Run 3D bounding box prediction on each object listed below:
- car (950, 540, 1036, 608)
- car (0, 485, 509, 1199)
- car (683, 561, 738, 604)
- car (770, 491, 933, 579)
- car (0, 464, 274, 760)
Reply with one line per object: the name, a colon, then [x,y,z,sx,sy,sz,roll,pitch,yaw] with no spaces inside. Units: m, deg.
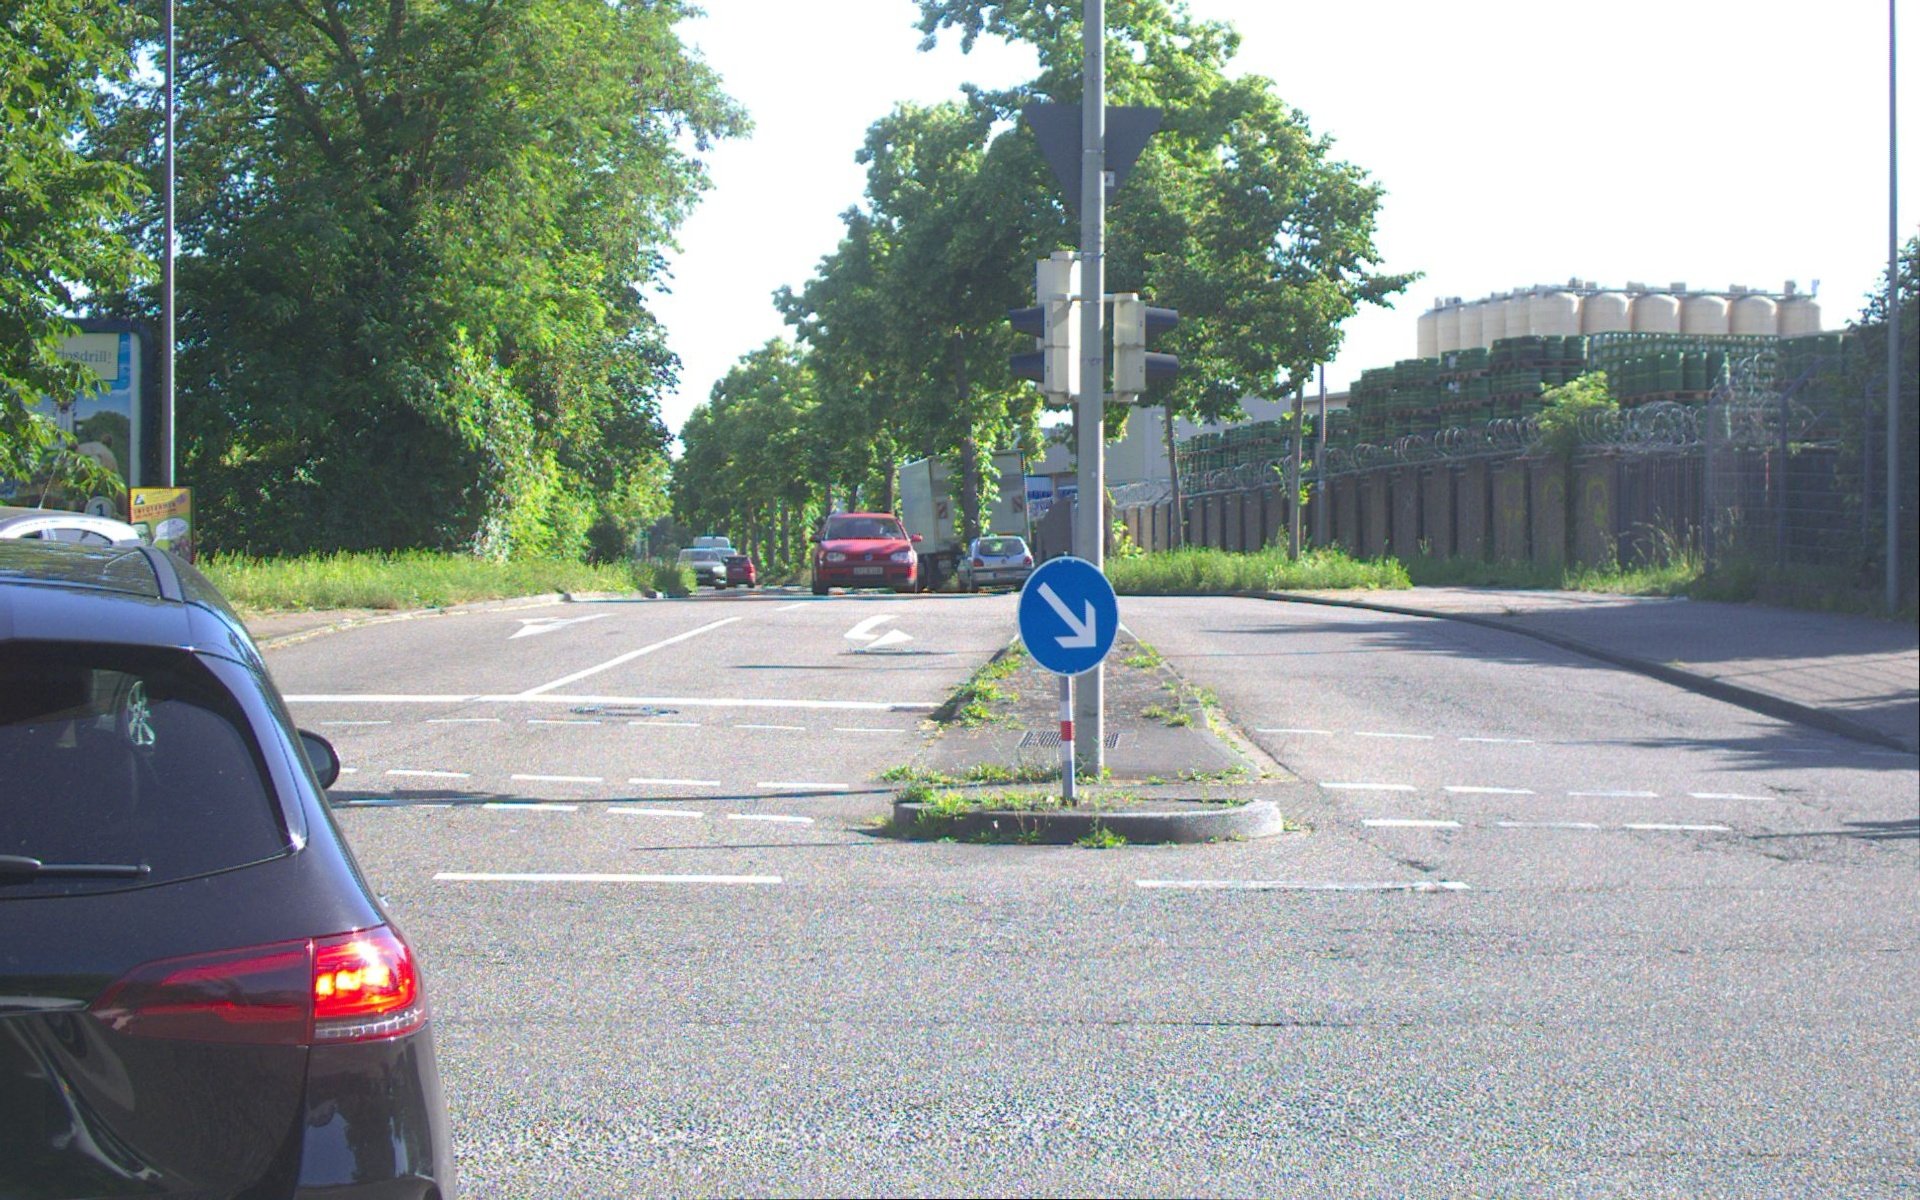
car: [0.791,-0.642,84.185,1.688,1.626,3.131,0,1,-7]
car: [-1.969,0.612,6.169,1.769,1.587,3.990,0,1,-15]
car: [-8.715,-0.619,119.889,1.857,1.464,4.139,0,1,-4]
car: [-1.925,-1.126,59.697,1.857,1.464,4.140,0,1,-16]
car: [-5.825,0.042,20.763,1.806,1.634,3.998,0,1,13]
